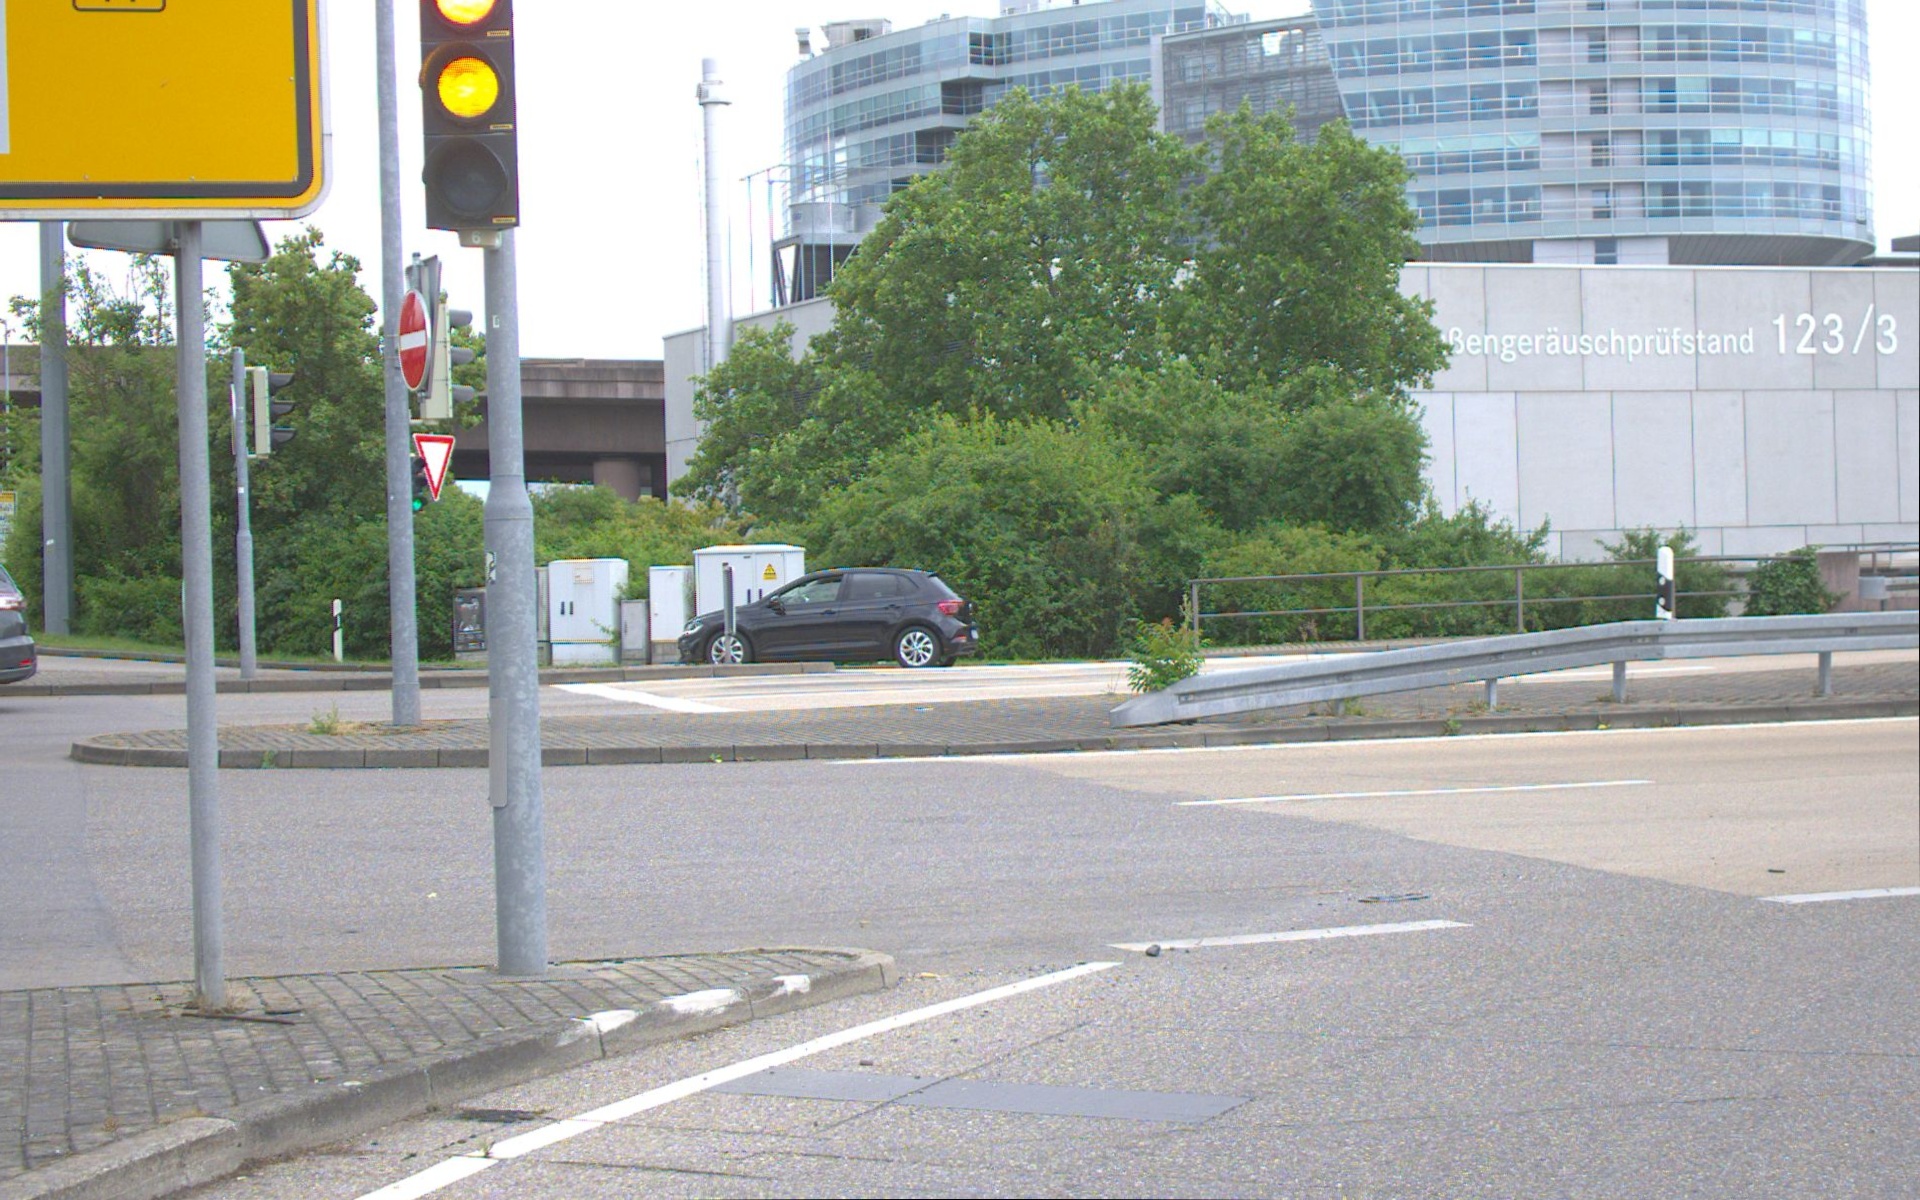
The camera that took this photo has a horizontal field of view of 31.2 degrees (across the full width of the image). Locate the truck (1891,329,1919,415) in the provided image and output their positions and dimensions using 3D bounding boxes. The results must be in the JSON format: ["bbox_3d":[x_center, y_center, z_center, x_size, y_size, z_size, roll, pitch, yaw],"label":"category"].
[{"bbox_3d":[40.111,-8.867,133.507,7.334,3.258,2.327,1,1,23],"label":"truck"}]

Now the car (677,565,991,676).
[{"bbox_3d":[-1.685,0.254,46.723,3.982,1.416,1.915,1,1,8],"label":"car"}]

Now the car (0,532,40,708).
[{"bbox_3d":[-10.903,0.190,31.028,4.678,1.566,1.956,-1,2,-29],"label":"car"}]
